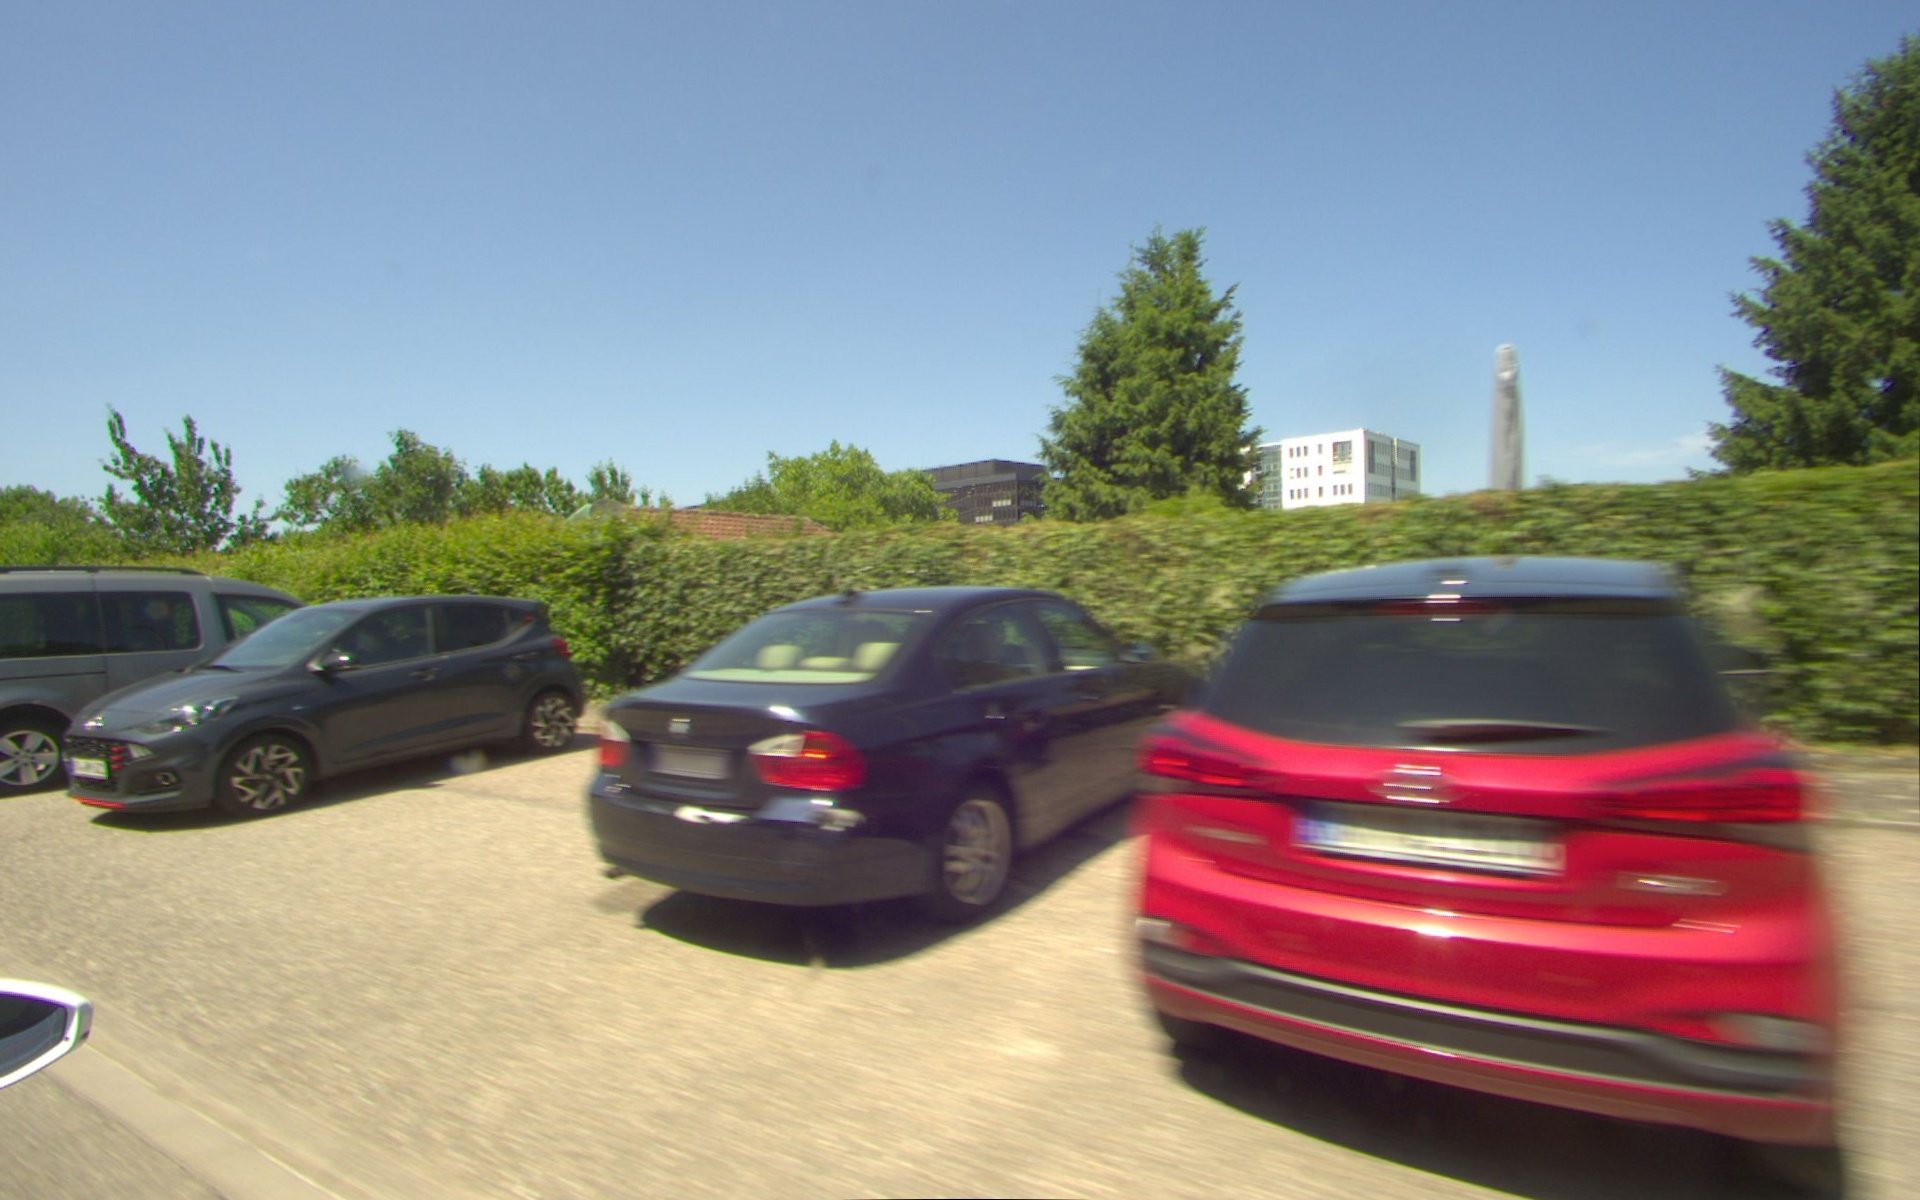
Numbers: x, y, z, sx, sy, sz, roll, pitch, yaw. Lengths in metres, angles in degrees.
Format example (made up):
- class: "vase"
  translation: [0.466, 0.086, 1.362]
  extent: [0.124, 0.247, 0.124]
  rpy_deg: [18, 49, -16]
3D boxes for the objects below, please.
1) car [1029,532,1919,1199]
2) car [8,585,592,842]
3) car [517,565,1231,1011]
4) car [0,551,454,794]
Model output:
- class: "car"
  translation: [2.022, 0.550, 3.879]
  extent: [1.819, 1.499, 3.907]
  rpy_deg: [0, 4, 33]
- class: "car"
  translation: [-5.131, 0.711, 8.311]
  extent: [1.813, 1.522, 3.570]
  rpy_deg: [-1, 2, 28]
- class: "car"
  translation: [-0.034, 0.607, 5.717]
  extent: [1.815, 1.408, 4.189]
  rpy_deg: [0, 4, 34]
- class: "car"
  translation: [-7.821, 0.547, 9.864]
  extent: [1.968, 1.874, 4.606]
  rpy_deg: [0, 4, 33]
